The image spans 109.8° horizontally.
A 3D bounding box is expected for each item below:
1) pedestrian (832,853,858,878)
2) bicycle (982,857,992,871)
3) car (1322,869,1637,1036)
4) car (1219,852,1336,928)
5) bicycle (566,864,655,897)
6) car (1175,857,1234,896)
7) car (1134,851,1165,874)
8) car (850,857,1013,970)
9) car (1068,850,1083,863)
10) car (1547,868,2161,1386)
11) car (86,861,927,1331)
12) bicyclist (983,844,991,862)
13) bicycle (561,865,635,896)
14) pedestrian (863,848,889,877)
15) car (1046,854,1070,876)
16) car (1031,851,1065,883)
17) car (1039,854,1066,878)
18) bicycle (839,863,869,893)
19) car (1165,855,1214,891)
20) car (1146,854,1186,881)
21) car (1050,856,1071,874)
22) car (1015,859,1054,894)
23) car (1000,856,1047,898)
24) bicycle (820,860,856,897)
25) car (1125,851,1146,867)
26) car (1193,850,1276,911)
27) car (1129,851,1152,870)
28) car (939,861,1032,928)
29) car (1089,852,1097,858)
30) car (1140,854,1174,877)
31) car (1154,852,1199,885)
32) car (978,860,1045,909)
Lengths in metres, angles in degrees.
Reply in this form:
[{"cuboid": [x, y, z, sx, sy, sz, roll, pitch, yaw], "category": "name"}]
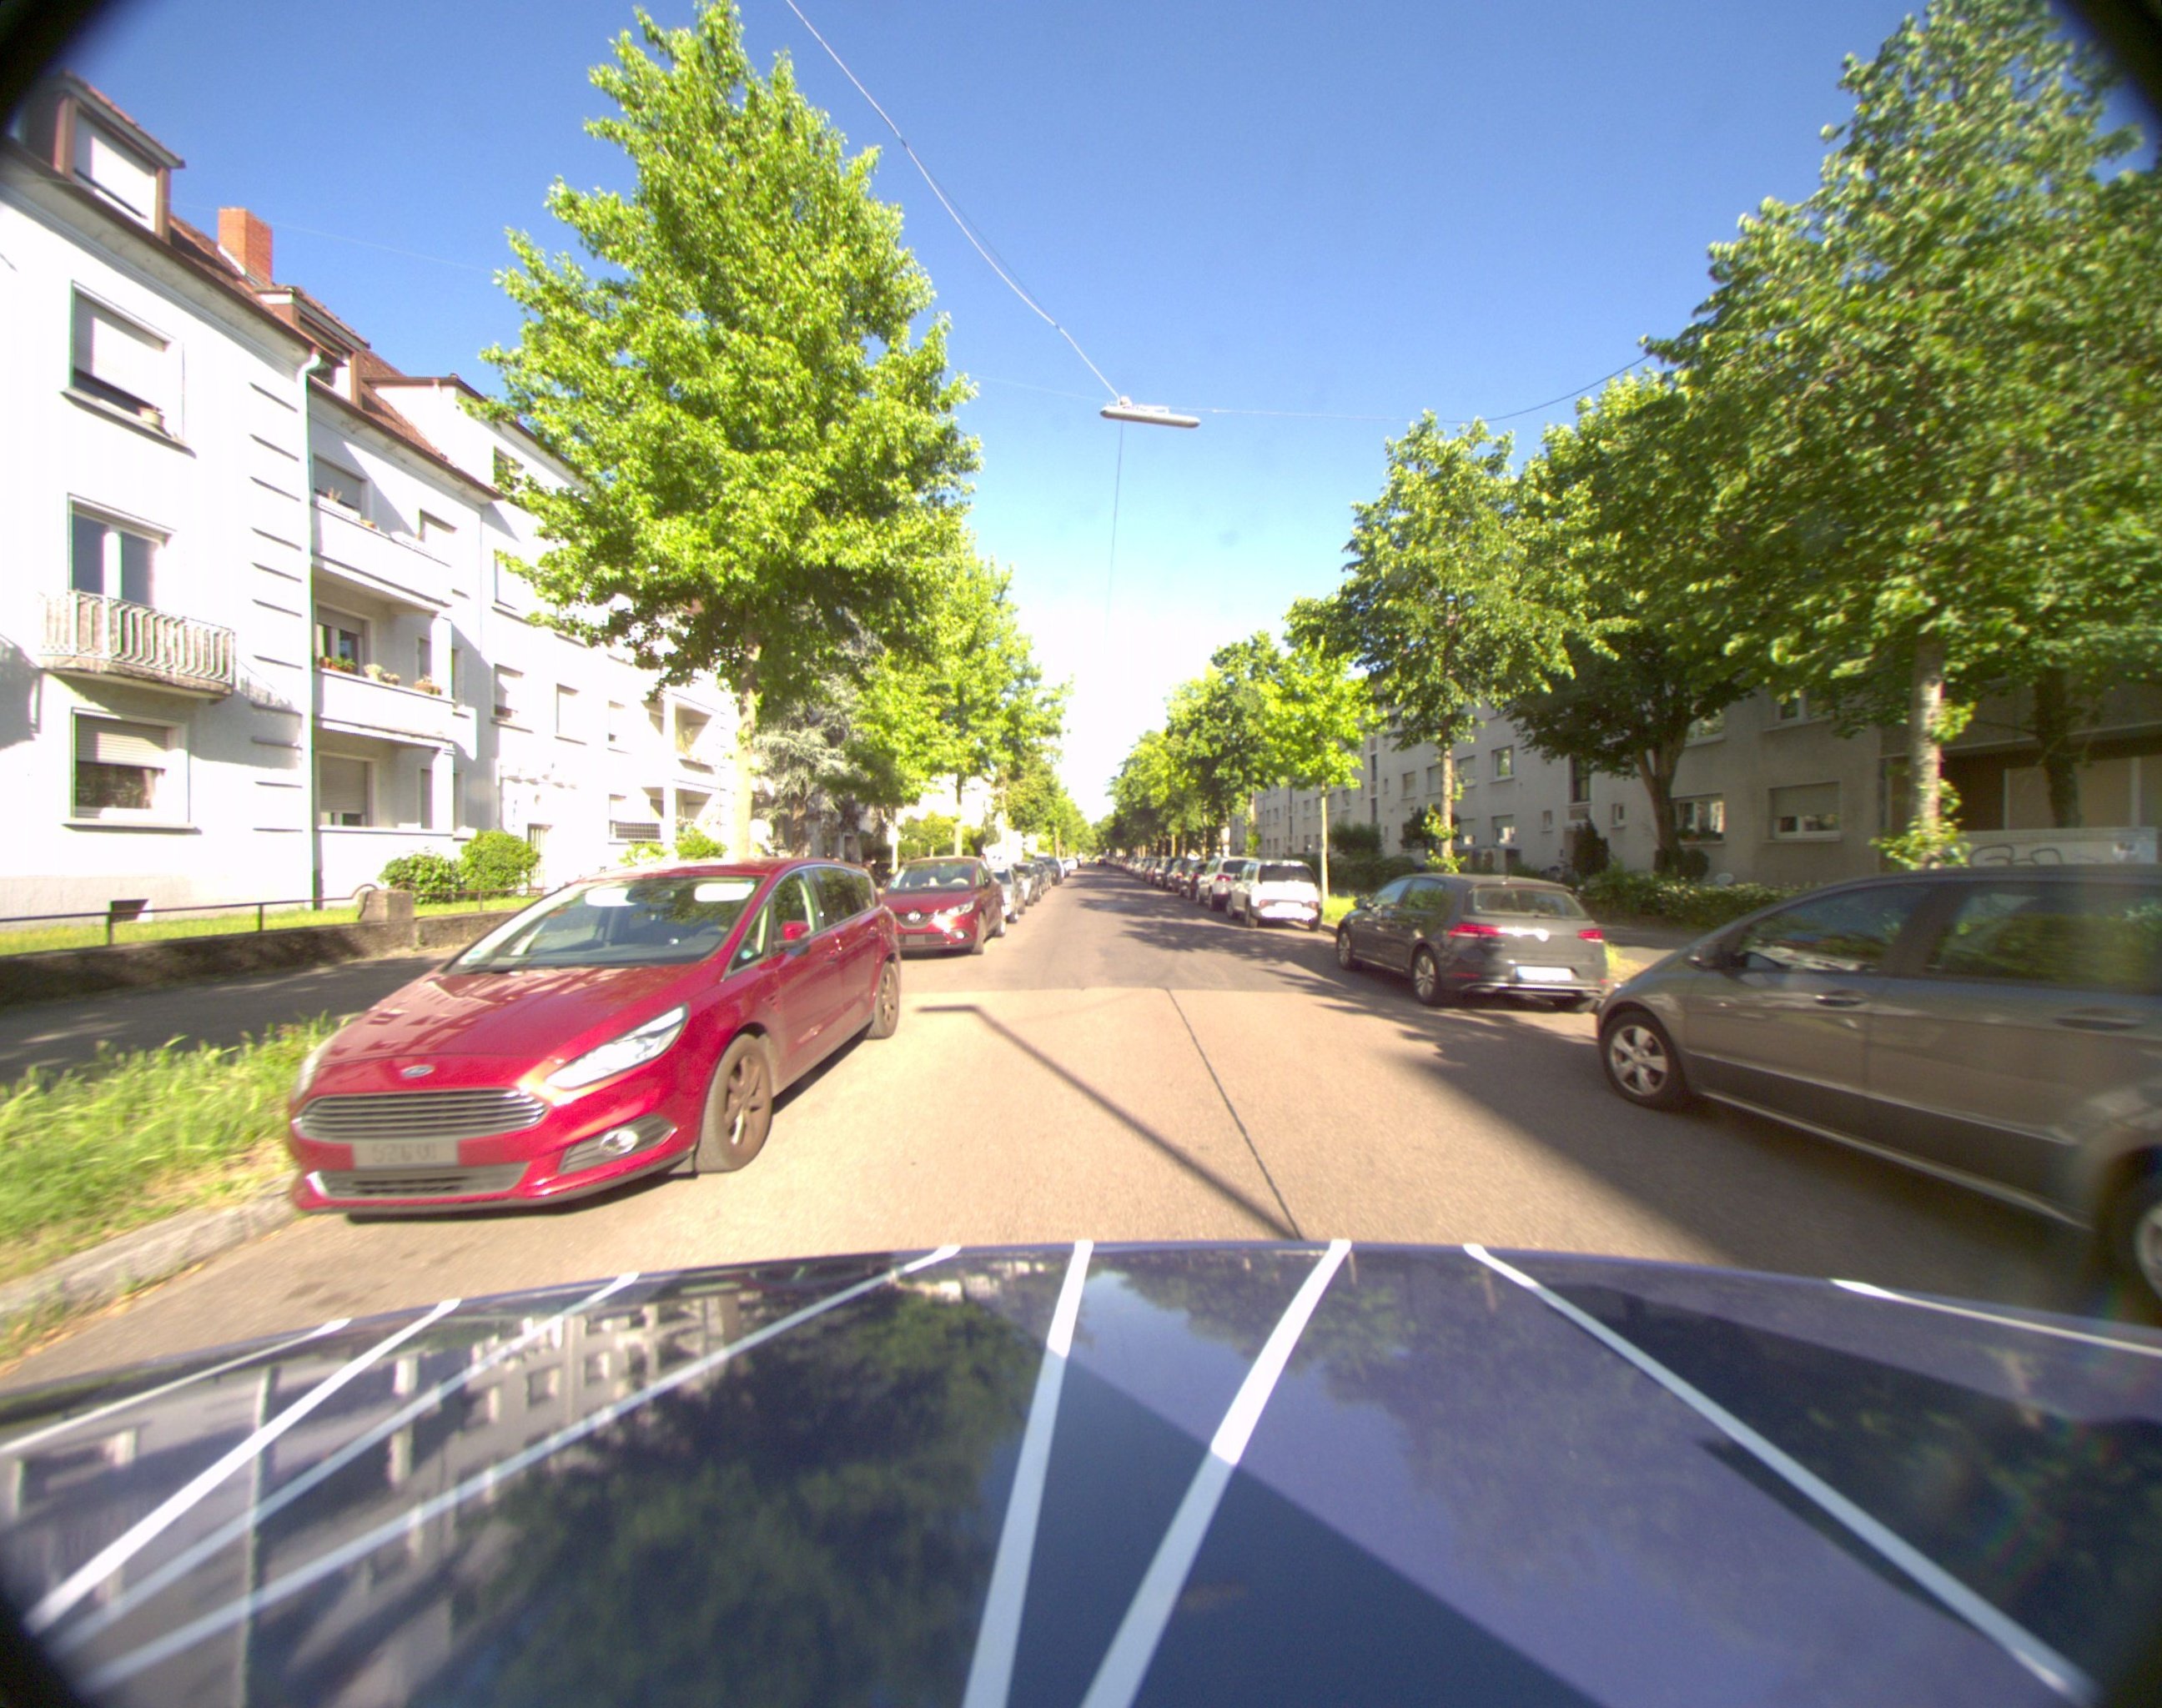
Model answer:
[{"cuboid": [-11.409, 0.560, 36.700, 1.036, 1.136, 0.716, -2, 1, -5], "category": "pedestrian"}, {"cuboid": [-7.016, 0.731, 56.575, 0.459, 0.956, 1.787, 1, 1, 1], "category": "bicycle"}, {"cuboid": [4.447, 0.981, 9.280, 1.664, 1.387, 4.091, -2, 1, 0], "category": "car"}, {"cuboid": [4.585, 0.777, 18.327, 1.721, 1.517, 3.999, -2, 1, 0], "category": "car"}, {"cuboid": [-13.166, 0.735, 21.292, 2.065, 0.765, 0.626, -4, 1, 1], "category": "bicycle"}, {"cuboid": [4.740, 0.835, 29.632, 1.661, 1.384, 4.237, 0, 0, 0], "category": "car"}, {"cuboid": [5.045, 0.591, 56.438, 1.879, 1.553, 4.182, 1, 1, 0], "category": "car"}, {"cuboid": [-2.468, 0.916, 13.785, 1.934, 1.558, 4.593, 2, 1, 1], "category": "car"}, {"cuboid": [-0.653, 0.308, 99.570, 1.891, 1.624, 3.888, 0, 0, 1], "category": "car"}, {"cuboid": [4.337, 0.918, 3.603, 1.724, 1.553, 4.107, 1, 1, 0], "category": "car"}, {"cuboid": [-2.633, 0.933, 5.291, 1.903, 1.604, 4.972, -1, 1, 2], "category": "car"}, {"cuboid": [-7.003, -0.071, 56.644, 0.497, 1.331, 0.719, 1, 1, 1], "category": "bicyclist"}, {"cuboid": [-15.090, 0.834, 23.770, 2.034, 0.913, 0.559, 1, 2, 5], "category": "bicycle"}, {"cuboid": [-9.940, 0.408, 36.802, 1.038, 1.370, 0.714, -1, 1, -34], "category": "pedestrian"}, {"cuboid": [-1.746, 0.825, 58.726, 1.769, 1.487, 4.014, -2, 1, -1], "category": "car"}, {"cuboid": [-1.842, 0.698, 43.074, 1.769, 1.627, 4.014, -2, 1, -1], "category": "car"}, {"cuboid": [-1.934, 0.823, 53.237, 1.769, 1.487, 3.932, -2, 1, -1], "category": "car"}, {"cuboid": [-8.675, 0.904, 29.105, 0.433, 1.006, 2.248, -6, 1, -1], "category": "bicycle"}, {"cuboid": [4.815, 0.793, 34.256, 1.653, 1.437, 3.966, 1, 1, 0], "category": "car"}, {"cuboid": [4.882, 0.750, 44.248, 1.879, 1.367, 4.068, 1, 1, 0], "category": "car"}, {"cuboid": [-1.691, 0.904, 63.479, 1.609, 1.402, 3.669, -2, 1, -1], "category": "car"}, {"cuboid": [-2.165, 1.024, 35.932, 1.609, 1.415, 4.014, -2, 1, -1], "category": "car"}, {"cuboid": [-2.229, 0.854, 30.317, 1.609, 1.455, 3.870, -2, 1, -1], "category": "car"}, {"cuboid": [-8.462, 0.826, 26.539, 0.490, 1.190, 2.175, -2, 1, 0], "category": "bicycle"}, {"cuboid": [5.405, 0.496, 75.770, 1.768, 1.487, 4.015, -2, 1, 0], "category": "car"}, {"cuboid": [4.653, 0.747, 23.595, 1.707, 1.670, 4.223, 1, 1, 0], "category": "car"}, {"cuboid": [5.285, 0.566, 68.123, 1.768, 1.487, 4.015, -2, 1, 0], "category": "car"}, {"cuboid": [-2.322, 0.935, 19.609, 1.715, 1.399, 4.490, 1, 1, 1], "category": "car"}, {"cuboid": [3.004, 0.225, 187.687, 1.769, 1.486, 3.782, 0, 0, -1], "category": "car"}, {"cuboid": [5.023, 0.732, 50.801, 1.879, 1.367, 4.182, 1, 1, 0], "category": "car"}, {"cuboid": [4.853, 0.709, 39.172, 1.820, 1.576, 4.408, 1, 0, 0], "category": "car"}, {"cuboid": [-2.254, 0.976, 25.575, 1.768, 1.389, 3.695, -2, 1, 1], "category": "car"}]
